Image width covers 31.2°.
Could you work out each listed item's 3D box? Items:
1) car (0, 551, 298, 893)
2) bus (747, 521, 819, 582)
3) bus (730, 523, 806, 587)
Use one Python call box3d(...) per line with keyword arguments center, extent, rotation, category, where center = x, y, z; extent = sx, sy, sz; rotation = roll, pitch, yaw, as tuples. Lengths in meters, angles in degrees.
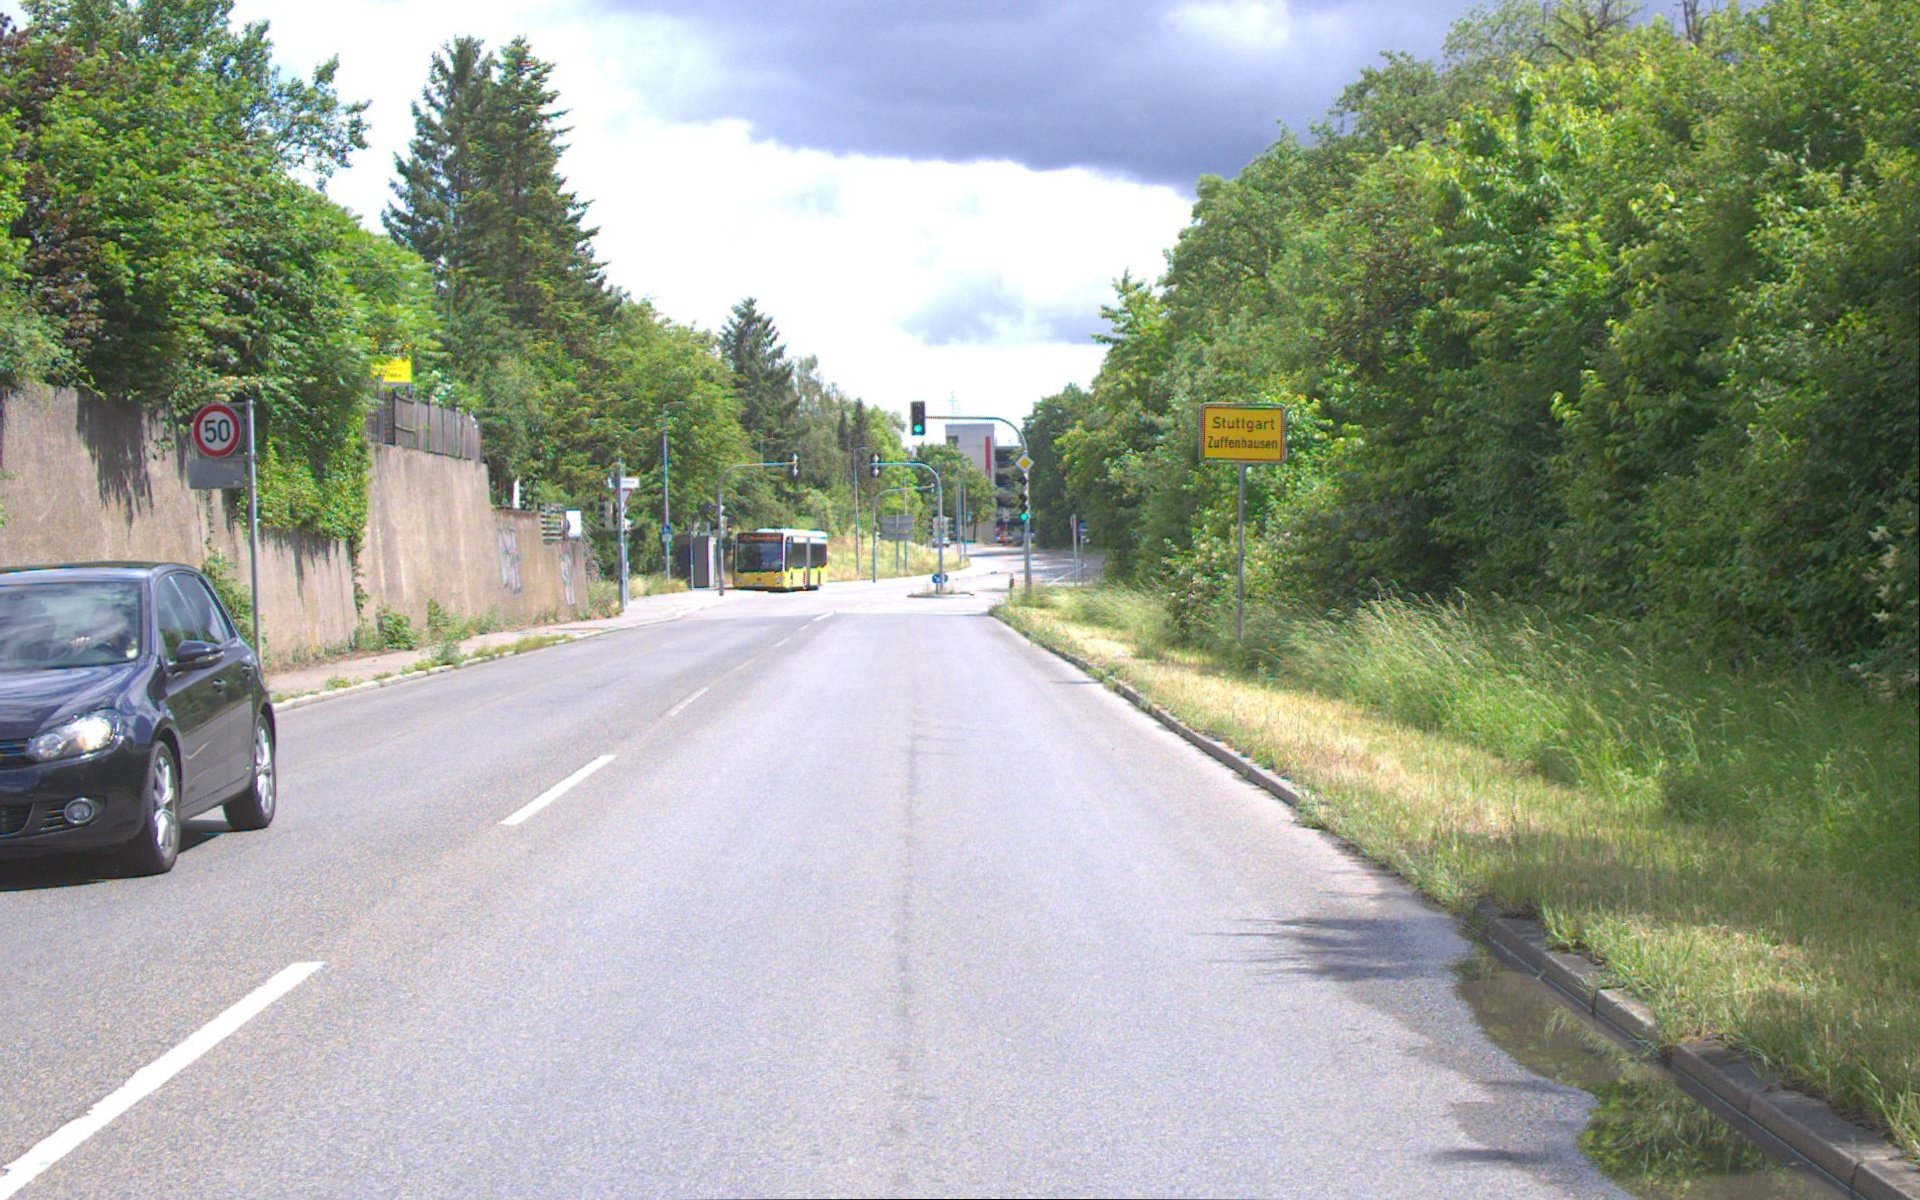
box3d(center=(-4.526, 0.522, 17.088), extent=(1.751, 1.459, 4.000), rotation=(-2, 1, -1), category="car")
box3d(center=(-8.968, -2.495, 175.054), extent=(2.895, 2.889, 7.667), rotation=(1, 2, 3), category="bus")
box3d(center=(-9.324, -2.239, 167.381), extent=(2.895, 2.889, 7.667), rotation=(1, 2, 3), category="bus")
